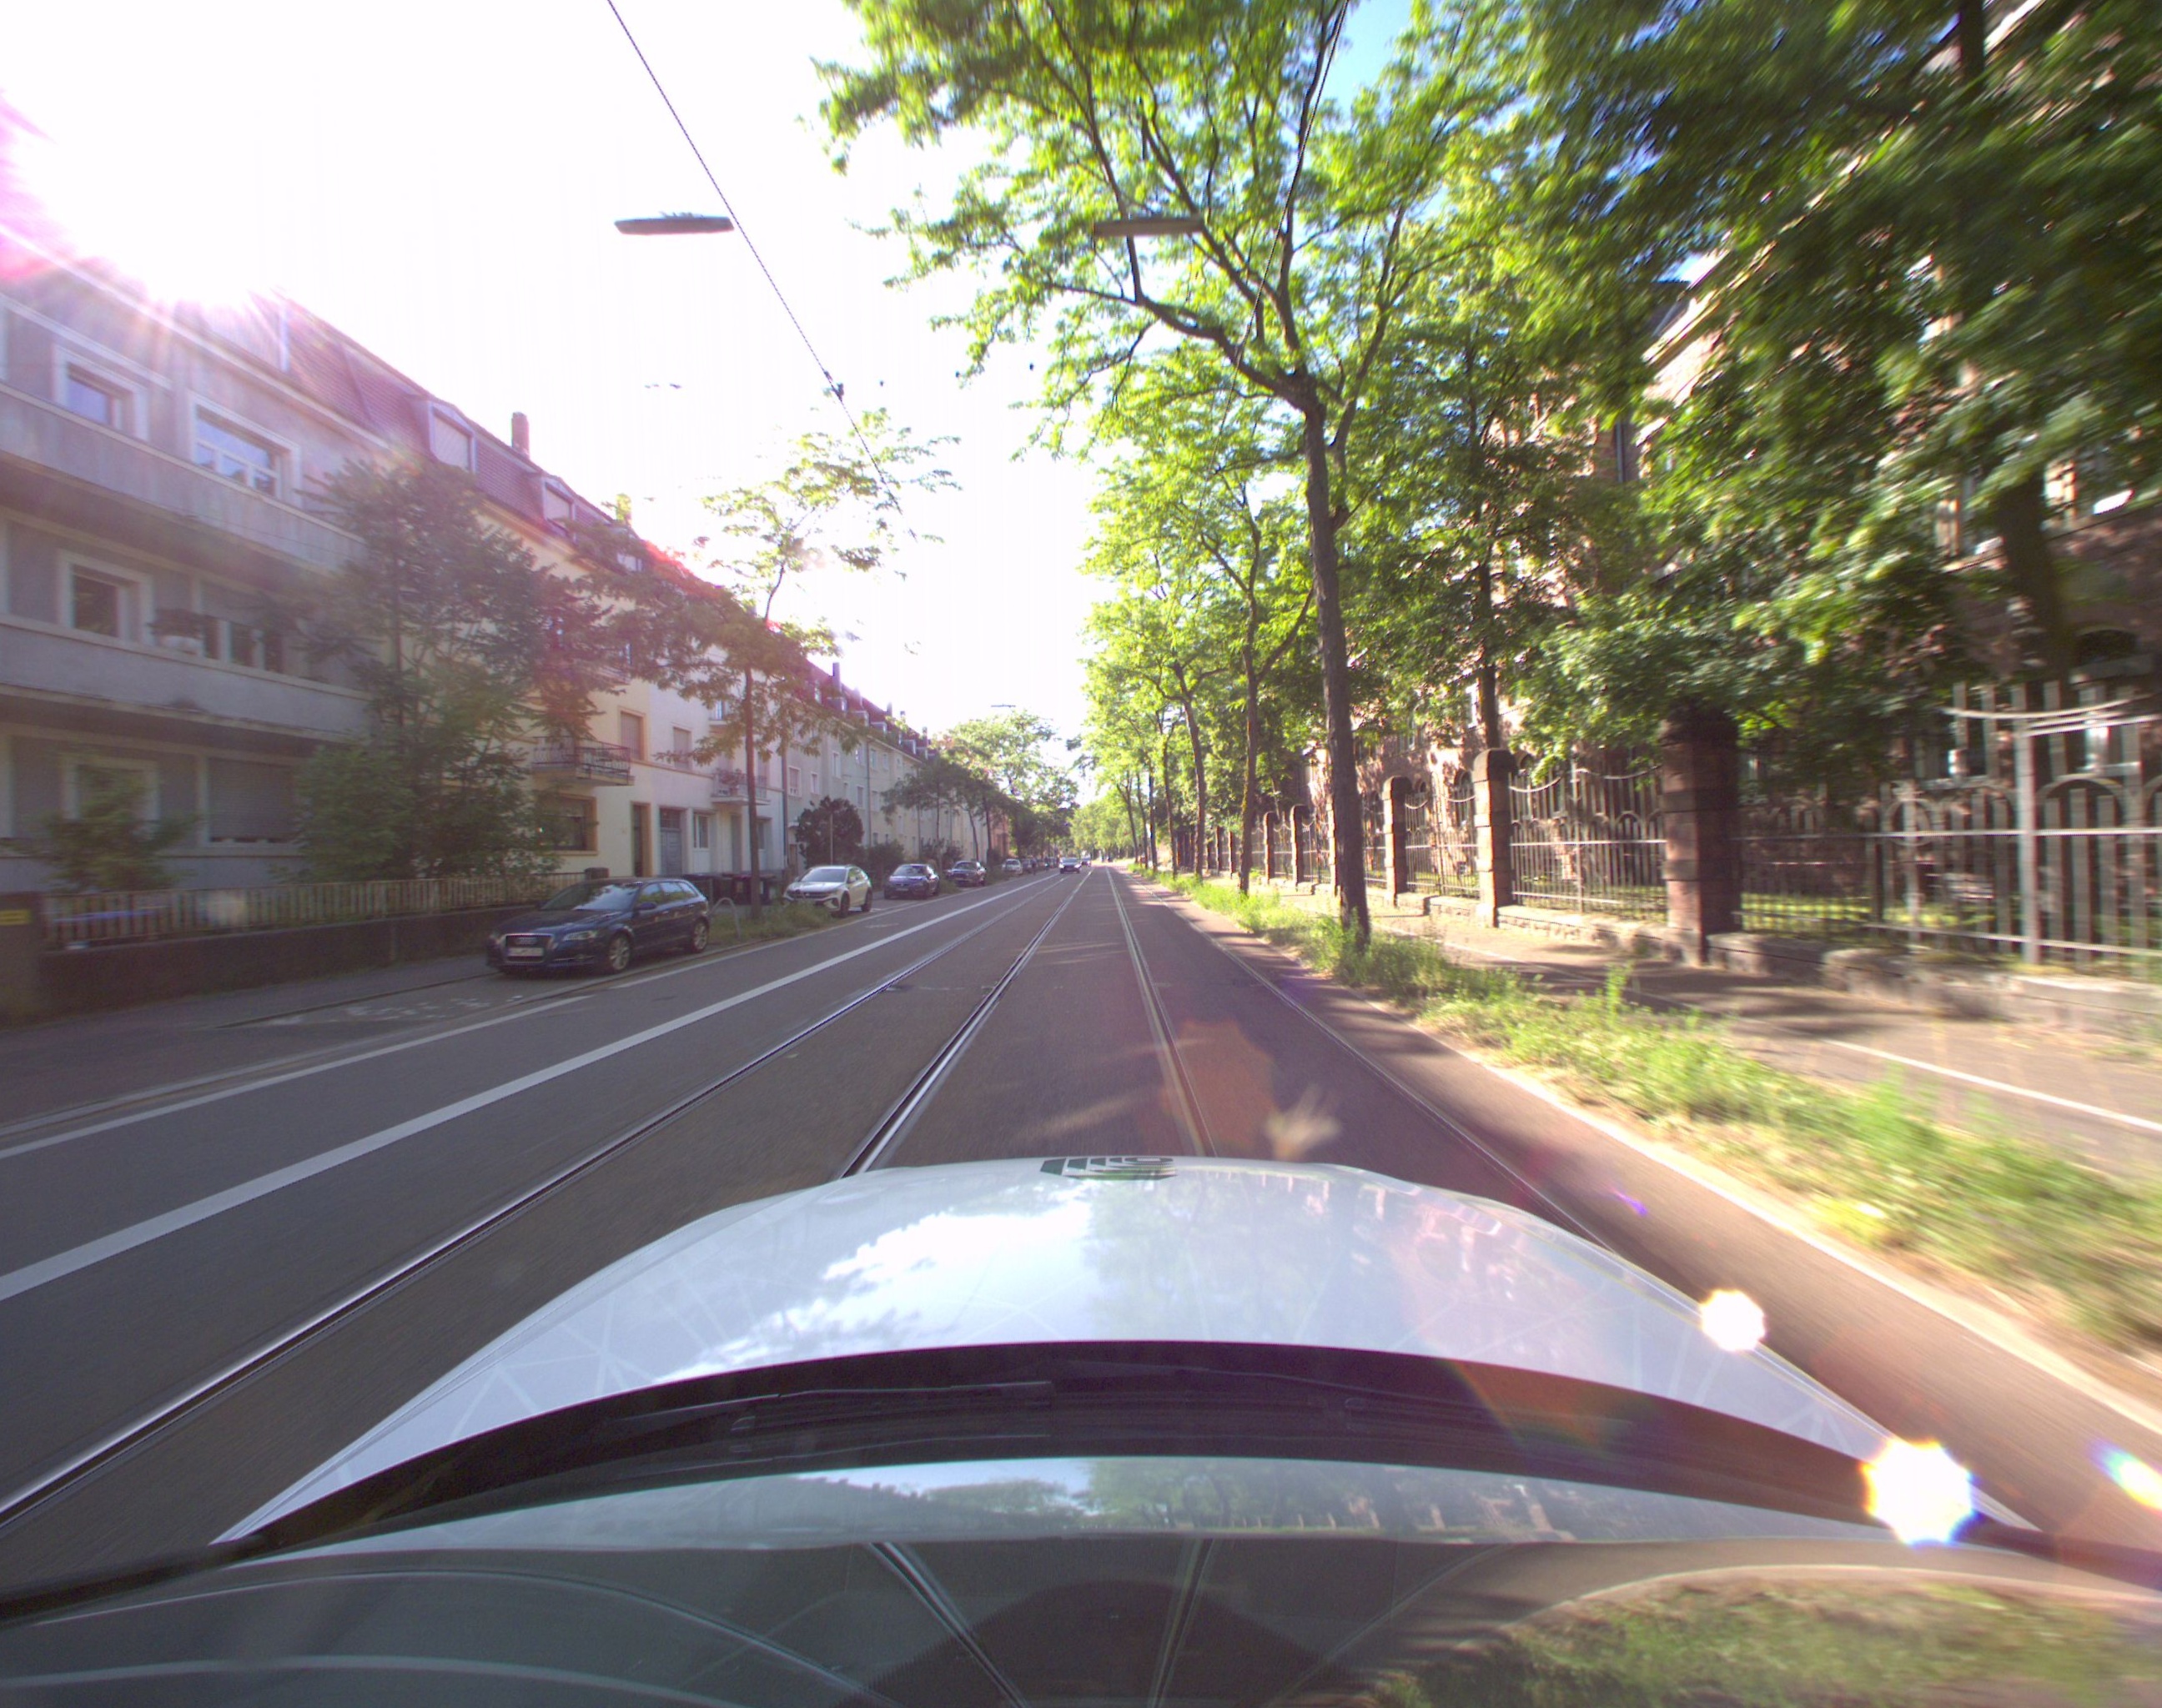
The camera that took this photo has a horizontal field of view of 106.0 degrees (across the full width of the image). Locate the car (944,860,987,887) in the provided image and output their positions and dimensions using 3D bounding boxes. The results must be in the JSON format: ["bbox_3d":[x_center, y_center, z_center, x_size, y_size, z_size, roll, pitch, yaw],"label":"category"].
[{"bbox_3d":[-6.816,1.105,48.443,1.810,1.485,4.207,-1,0,1],"label":"car"}]

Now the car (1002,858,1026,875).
[{"bbox_3d":[-6.095,1.144,74.610,1.696,1.485,4.080,1,0,1],"label":"car"}]

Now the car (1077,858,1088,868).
[{"bbox_3d":[0.232,1.420,123.621,1.694,1.439,4.071,-1,0,0],"label":"car"}]

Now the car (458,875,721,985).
[{"bbox_3d":[-7.826,1.117,13.555,1.700,1.406,4.334,-1,0,1],"label":"car"}]

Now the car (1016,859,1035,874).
[{"bbox_3d":[-5.646,1.267,83.255,1.681,1.485,3.760,1,0,0],"label":"car"}]

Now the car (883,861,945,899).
[{"bbox_3d":[-7.210,1.096,35.498,1.752,1.511,4.438,-1,0,0],"label":"car"}]

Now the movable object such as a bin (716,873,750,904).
[{"bbox_3d":[-12.362,1.225,28.938,0.841,1.046,0.733,0,0,4],"label":"movable object such as a bin"}]

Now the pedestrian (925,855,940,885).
[{"bbox_3d":[-9.340,0.993,51.125,0.689,1.801,0.813,-2,0,1],"label":"pedestrian"}]

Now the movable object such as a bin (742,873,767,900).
[{"bbox_3d":[-11.999,1.193,29.942,0.557,0.975,0.733,0,0,4],"label":"movable object such as a bin"}]

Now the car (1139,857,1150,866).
[{"bbox_3d":[11.955,1.430,153.621,1.833,1.655,3.578,-2,0,-1],"label":"car"}]

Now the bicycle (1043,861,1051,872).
[{"bbox_3d":[-3.778,1.339,89.868,0.624,1.177,1.914,-4,0,1],"label":"bicycle"}]

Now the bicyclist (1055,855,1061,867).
[{"bbox_3d":[-3.224,0.975,114.084,0.707,1.607,0.865,-4,0,1],"label":"bicyclist"}]

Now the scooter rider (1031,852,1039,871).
[{"bbox_3d":[-4.298,0.699,75.940,0.495,1.699,0.787,-5,-1,1],"label":"scooter rider"}]

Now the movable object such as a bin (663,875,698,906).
[{"bbox_3d":[-14.138,1.293,28.769,0.841,1.046,0.733,0,0,4],"label":"movable object such as a bin"}]

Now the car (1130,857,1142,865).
[{"bbox_3d":[11.189,1.375,165.567,1.939,1.610,3.994,-2,0,-4],"label":"car"}]

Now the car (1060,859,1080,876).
[{"bbox_3d":[-0.959,1.226,76.277,1.752,1.439,4.523,-1,0,0],"label":"car"}]

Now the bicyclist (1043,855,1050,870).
[{"bbox_3d":[-3.810,0.945,89.844,0.624,1.639,0.940,-4,0,1],"label":"bicyclist"}]

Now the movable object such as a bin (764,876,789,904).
[{"bbox_3d":[-10.785,1.278,28.891,0.557,0.975,0.733,0,0,4],"label":"movable object such as a bin"}]

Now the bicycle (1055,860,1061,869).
[{"bbox_3d":[-3.192,1.449,114.136,0.692,1.177,1.914,-4,0,1],"label":"bicycle"}]

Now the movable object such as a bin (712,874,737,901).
[{"bbox_3d":[-13.102,1.228,29.966,0.557,0.975,0.733,0,0,4],"label":"movable object such as a bin"}]

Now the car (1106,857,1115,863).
[{"bbox_3d":[7.945,1.614,219.168,1.939,1.610,3.994,-2,0,-4],"label":"car"}]

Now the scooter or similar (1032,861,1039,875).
[{"bbox_3d":[-4.241,1.292,75.970,0.518,1.297,1.378,-5,0,1],"label":"scooter or similar"}]

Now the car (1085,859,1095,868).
[{"bbox_3d":[1.601,1.718,146.022,1.694,1.471,4.071,-1,0,0],"label":"car"}]

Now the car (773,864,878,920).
[{"bbox_3d":[-7.691,1.090,24.958,1.811,1.511,4.371,-1,0,0],"label":"car"}]

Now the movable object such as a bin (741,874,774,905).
[{"bbox_3d":[-11.497,1.249,28.935,0.841,1.046,0.733,0,0,4],"label":"movable object such as a bin"}]

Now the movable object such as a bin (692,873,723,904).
[{"bbox_3d":[-13.217,1.207,28.844,0.704,1.046,0.733,0,0,4],"label":"movable object such as a bin"}]
